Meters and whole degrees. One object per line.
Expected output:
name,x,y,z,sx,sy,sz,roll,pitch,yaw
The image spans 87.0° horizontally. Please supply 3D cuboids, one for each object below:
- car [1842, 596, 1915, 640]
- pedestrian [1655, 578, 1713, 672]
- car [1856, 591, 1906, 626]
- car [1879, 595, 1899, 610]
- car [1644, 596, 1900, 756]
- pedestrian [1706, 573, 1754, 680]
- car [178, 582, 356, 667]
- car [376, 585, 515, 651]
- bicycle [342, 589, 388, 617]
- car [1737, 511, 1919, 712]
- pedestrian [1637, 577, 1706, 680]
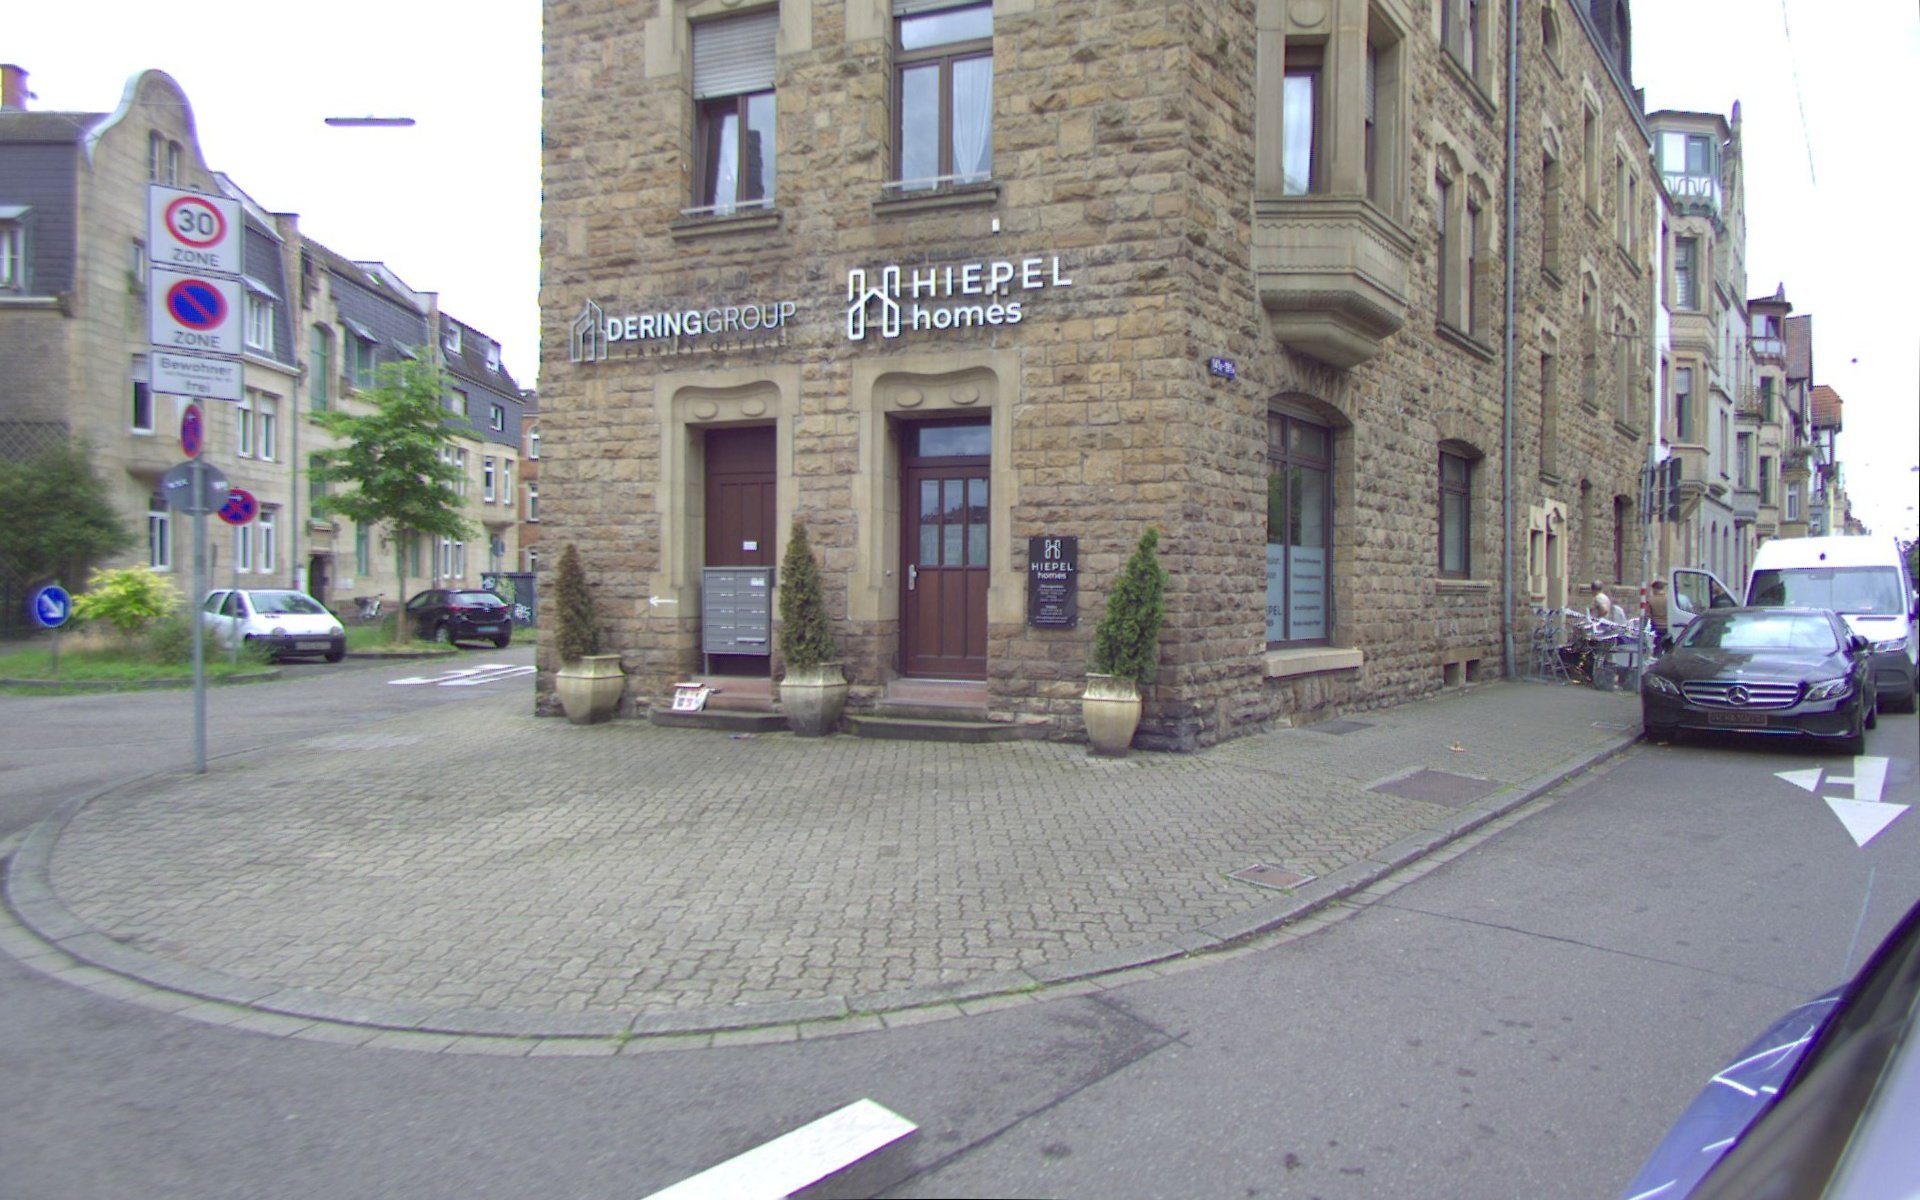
car,32.358,0.586,35.667,1.800,1.456,5.115,0,0,43
pedestrian,13.684,0.454,19.139,0.695,1.721,0.490,2,1,16
car,45.042,0.381,49.546,1.758,1.643,4.623,0,0,42
car,105.094,0.272,114.494,1.671,1.547,4.149,-1,1,43
car,9.541,0.697,11.710,1.824,1.468,4.926,-1,0,44
pedestrian,13.740,0.456,18.057,0.499,1.837,0.790,3,2,45
car,-13.737,0.415,20.030,3.516,1.451,1.688,2,1,32
car,-13.047,0.400,25.610,3.520,1.451,1.686,2,1,35
bicycle,-21.957,0.104,37.351,0.558,1.015,1.777,0,0,4
car,14.115,0.152,16.051,2.013,2.581,6.904,-2,-1,44
pedestrian,12.420,0.480,17.693,0.858,1.721,0.532,3,2,30
